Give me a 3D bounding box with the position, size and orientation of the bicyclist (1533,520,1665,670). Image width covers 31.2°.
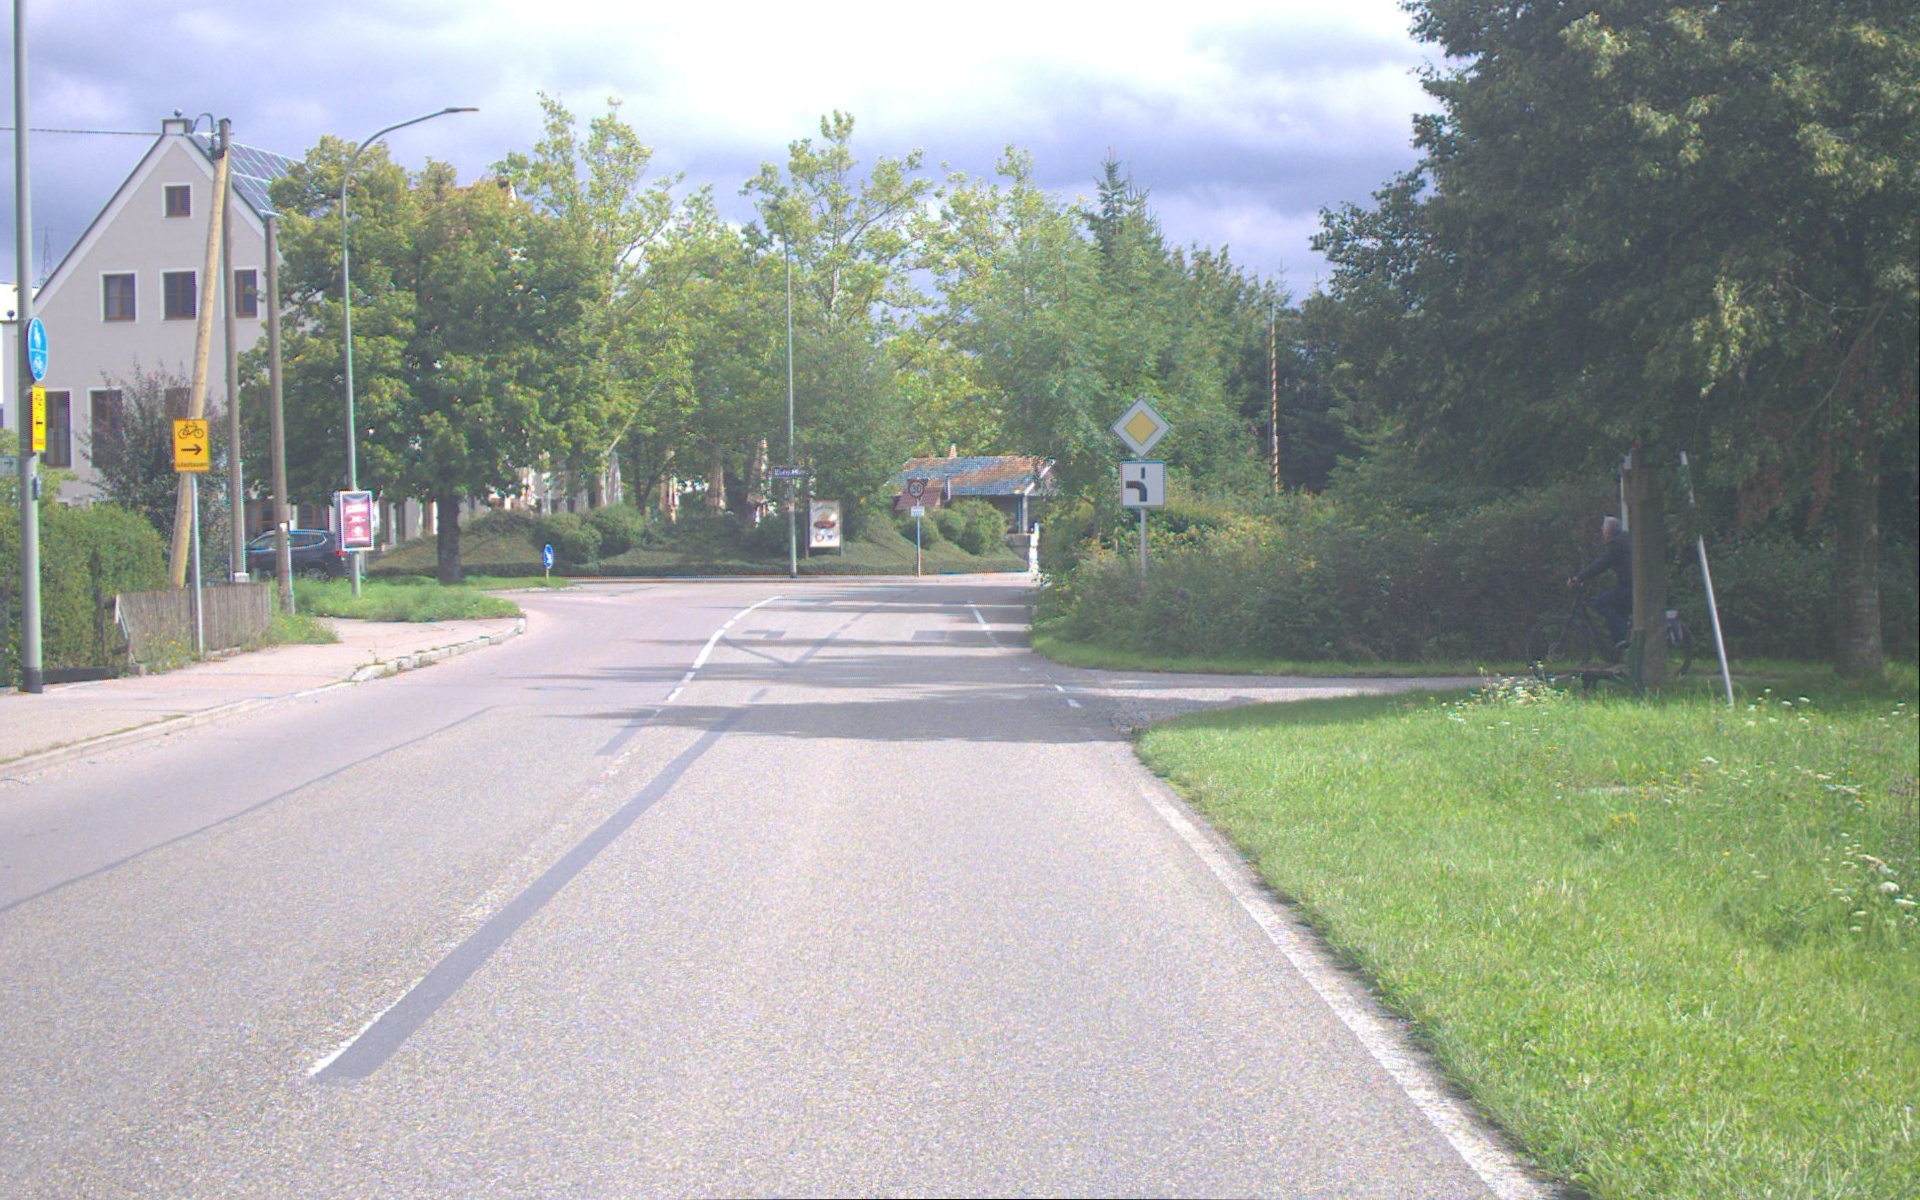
[{"bbox_3d":[6.886,-0.062,37.063,1.017,1.580,1.054,1,1,-15],"label":"bicyclist"}]

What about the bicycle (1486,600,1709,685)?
[{"bbox_3d":[6.865,0.452,37.074,2.115,0.861,1.054,0,1,-15],"label":"bicycle"}]

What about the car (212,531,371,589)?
[{"bbox_3d":[-18.728,-1.128,96.448,3.987,1.579,2.000,0,2,4],"label":"car"}]
